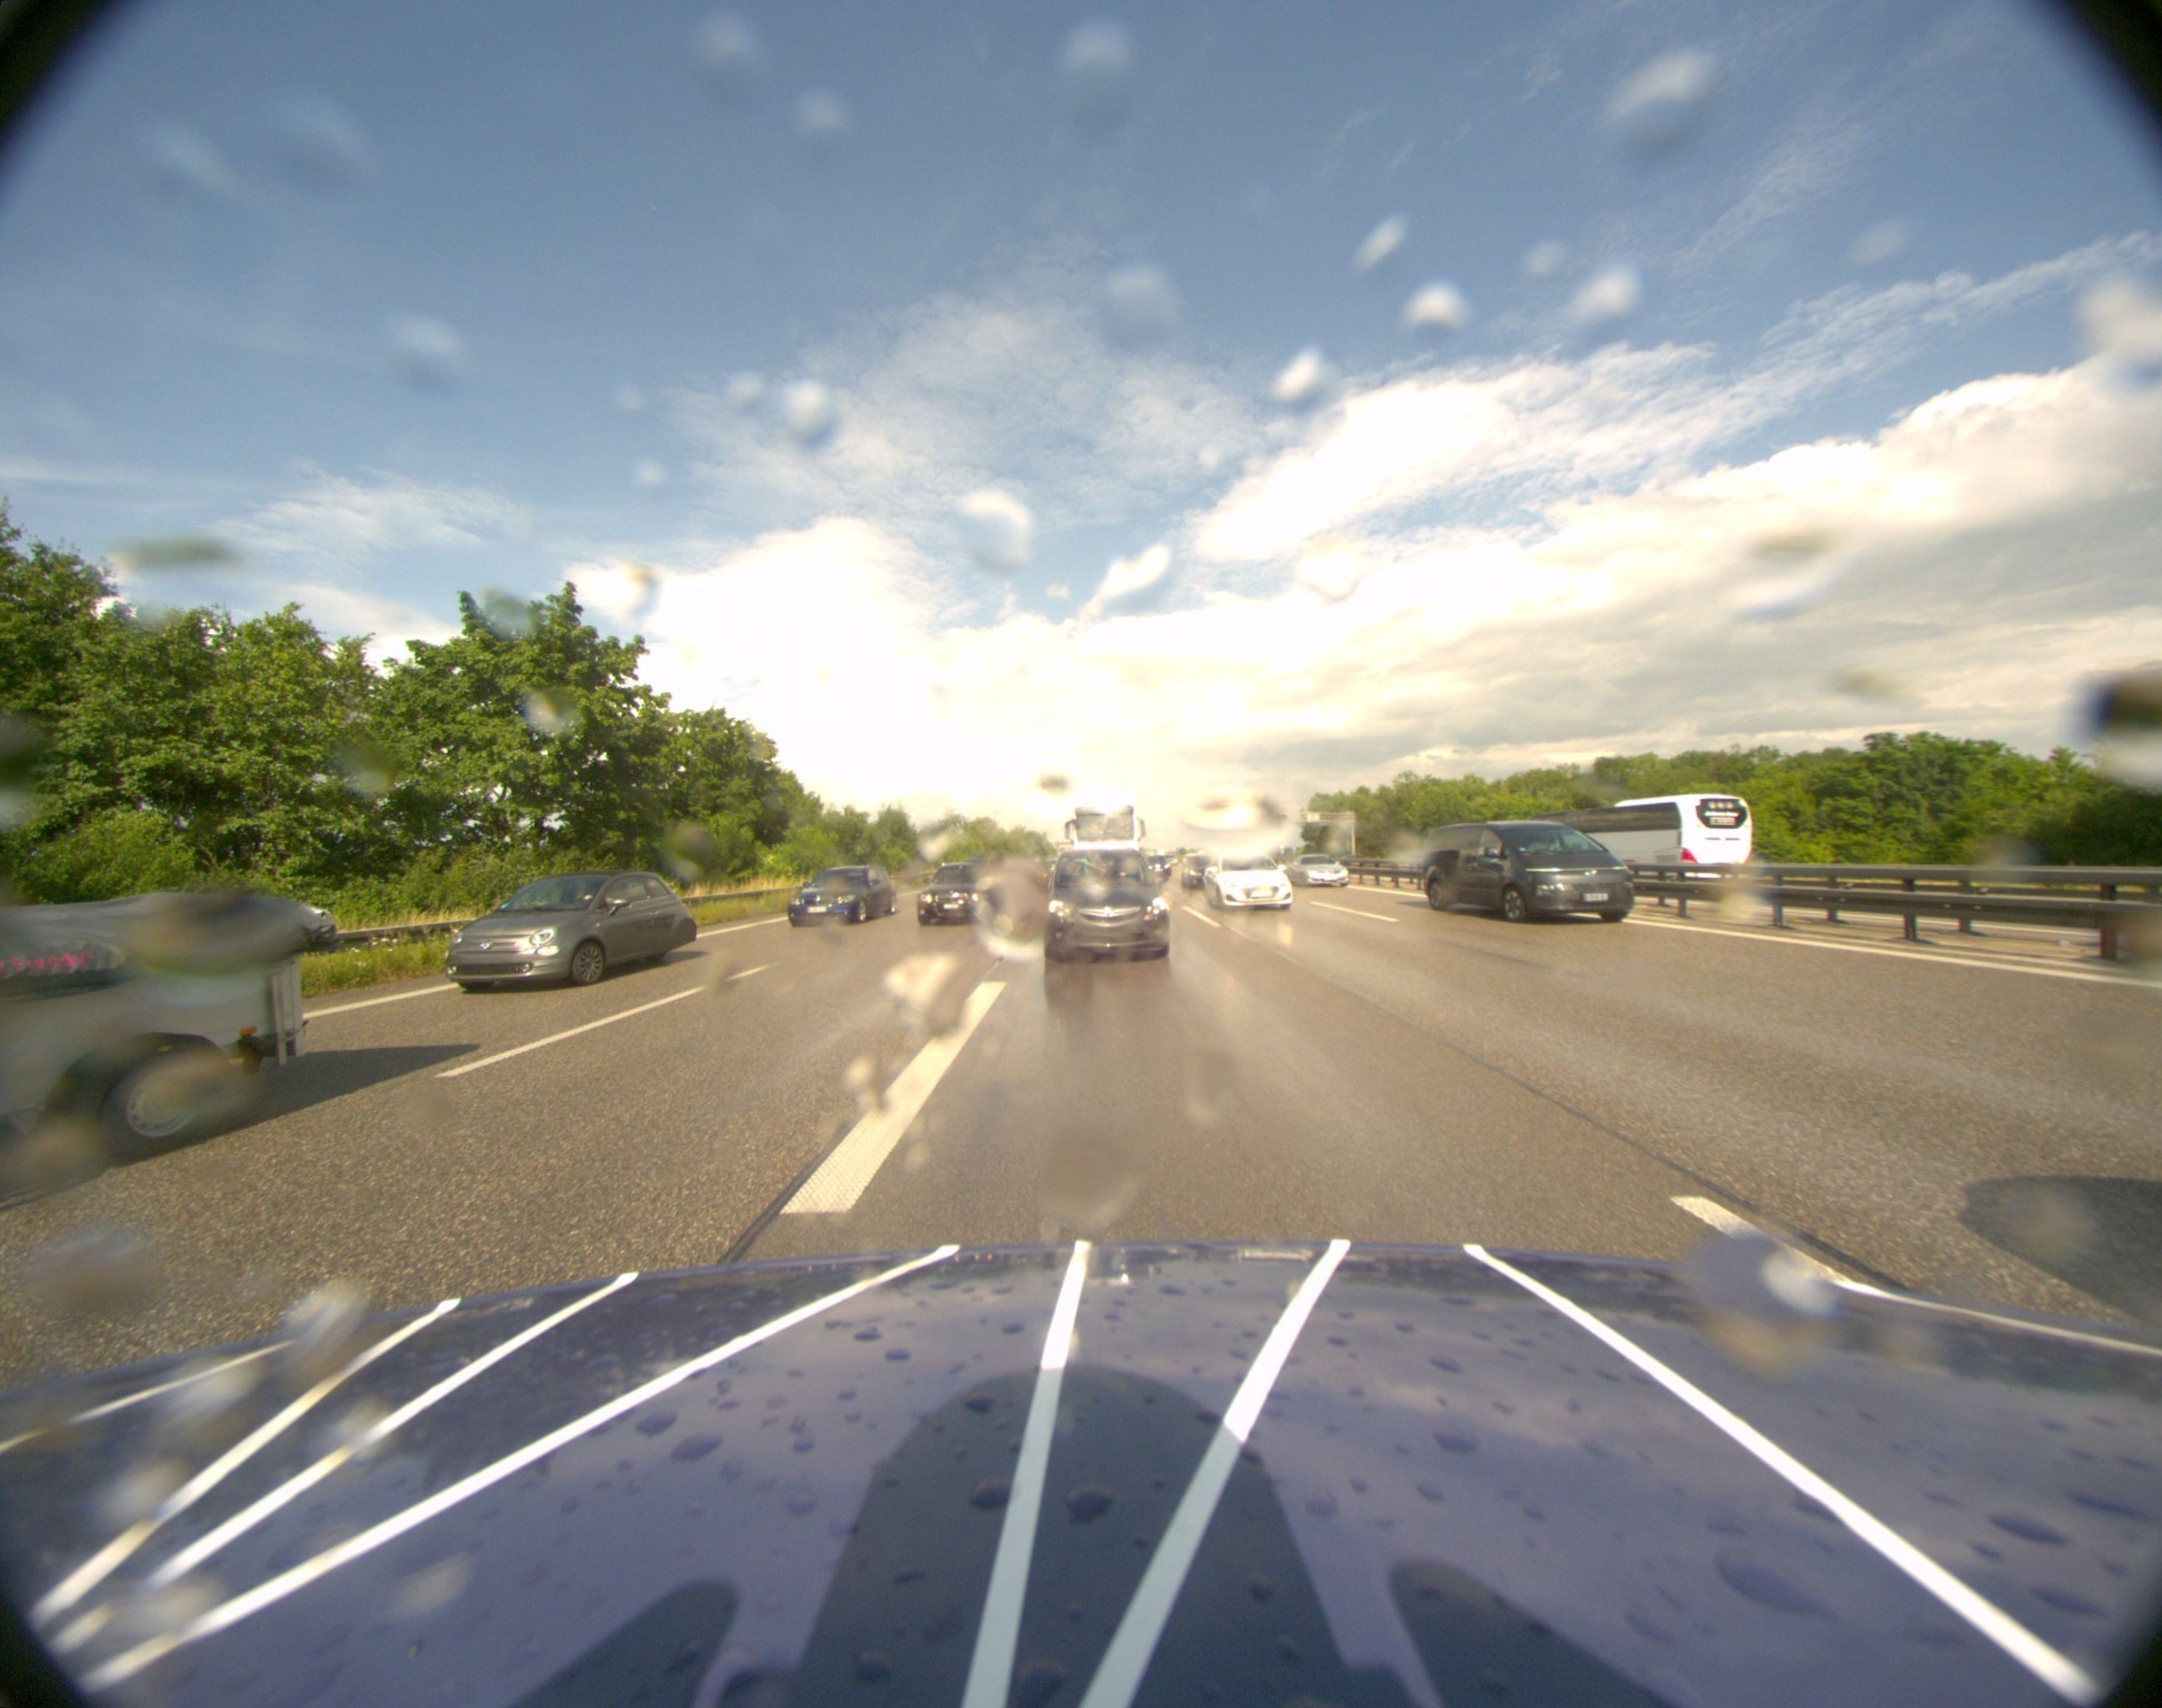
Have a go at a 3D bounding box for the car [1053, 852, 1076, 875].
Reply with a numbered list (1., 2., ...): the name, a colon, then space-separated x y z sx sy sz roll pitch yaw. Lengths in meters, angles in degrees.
1. car: -1.307 0.741 62.065 1.713 1.792 3.539 -2 1 0

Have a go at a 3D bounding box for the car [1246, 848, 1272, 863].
1. car: 18.612 0.152 79.525 1.804 1.535 4.000 -2 0 1

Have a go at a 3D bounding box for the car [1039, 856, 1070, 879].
1. car: -1.744 0.858 50.667 1.858 1.433 4.000 -2 0 0

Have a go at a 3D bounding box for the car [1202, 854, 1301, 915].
1. car: 4.379 0.718 20.124 1.809 1.389 4.240 -1 0 2

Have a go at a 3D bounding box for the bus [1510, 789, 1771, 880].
1. bus: 24.563 -0.752 34.815 2.898 3.354 12.470 -2 0 1

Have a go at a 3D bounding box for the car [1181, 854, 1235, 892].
1. car: 5.177 0.740 31.423 1.597 1.390 4.000 -2 0 1

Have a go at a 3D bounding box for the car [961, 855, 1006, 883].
1. car: -5.630 0.855 44.344 1.998 1.481 4.249 -2 0 0

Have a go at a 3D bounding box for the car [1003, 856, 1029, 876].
1. car: -5.696 1.042 67.138 1.868 1.565 4.000 -2 0 0

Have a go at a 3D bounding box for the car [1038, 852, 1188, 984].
1. car: 0.398 0.807 12.041 1.858 1.622 4.735 -2 0 0

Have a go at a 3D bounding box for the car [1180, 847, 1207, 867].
1. car: 10.341 0.262 70.022 1.900 1.740 4.000 -2 0 0

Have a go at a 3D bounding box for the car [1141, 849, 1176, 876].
1. car: 5.187 0.518 51.262 1.889 1.707 4.000 -2 0 0

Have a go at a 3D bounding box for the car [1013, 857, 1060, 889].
1. car: -2.084 0.869 36.667 1.743 1.357 4.001 -2 0 4

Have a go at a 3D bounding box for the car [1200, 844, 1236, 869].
1. car: 10.234 0.180 56.967 1.900 1.740 4.000 -2 0 0

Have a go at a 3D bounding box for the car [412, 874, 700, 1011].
1. car: -7.140 1.106 10.808 1.616 1.480 3.481 -2 0 0

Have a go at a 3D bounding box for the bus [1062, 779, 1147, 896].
1. bus: 0.990 -0.591 32.215 2.904 4.104 9.845 -2 0 2

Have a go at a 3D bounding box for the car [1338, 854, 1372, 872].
1. car: 25.045 0.815 69.562 1.736 1.583 4.000 -2 0 2

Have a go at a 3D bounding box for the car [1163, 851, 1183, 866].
1. car: 11.275 0.540 93.028 1.900 1.740 4.000 -2 0 0

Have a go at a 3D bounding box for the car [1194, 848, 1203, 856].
1. car: 30.214 -0.620 195.011 1.998 2.002 4.364 -2 0 4

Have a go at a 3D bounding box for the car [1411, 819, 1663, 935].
1. car: 8.844 0.386 15.457 1.998 1.906 5.236 -2 0 1

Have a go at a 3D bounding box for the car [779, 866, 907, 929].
1. car: -6.102 1.060 20.101 1.771 1.343 4.580 -2 0 2

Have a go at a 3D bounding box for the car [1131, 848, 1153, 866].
1. car: 6.320 0.325 79.220 1.900 1.740 4.000 -2 0 0

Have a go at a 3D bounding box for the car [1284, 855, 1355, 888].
1. car: 9.493 0.661 30.486 1.856 1.182 3.583 -2 0 3

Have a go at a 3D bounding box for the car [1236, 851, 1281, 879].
1. car: 9.724 0.588 41.823 1.618 1.412 4.000 -2 0 1

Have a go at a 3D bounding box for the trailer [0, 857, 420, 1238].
1. trailer: -5.914 0.933 3.770 1.811 1.736 3.966 -3 0 -2

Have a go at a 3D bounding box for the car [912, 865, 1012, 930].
1. car: -2.813 1.004 18.794 1.722 1.346 3.884 -2 0 2
